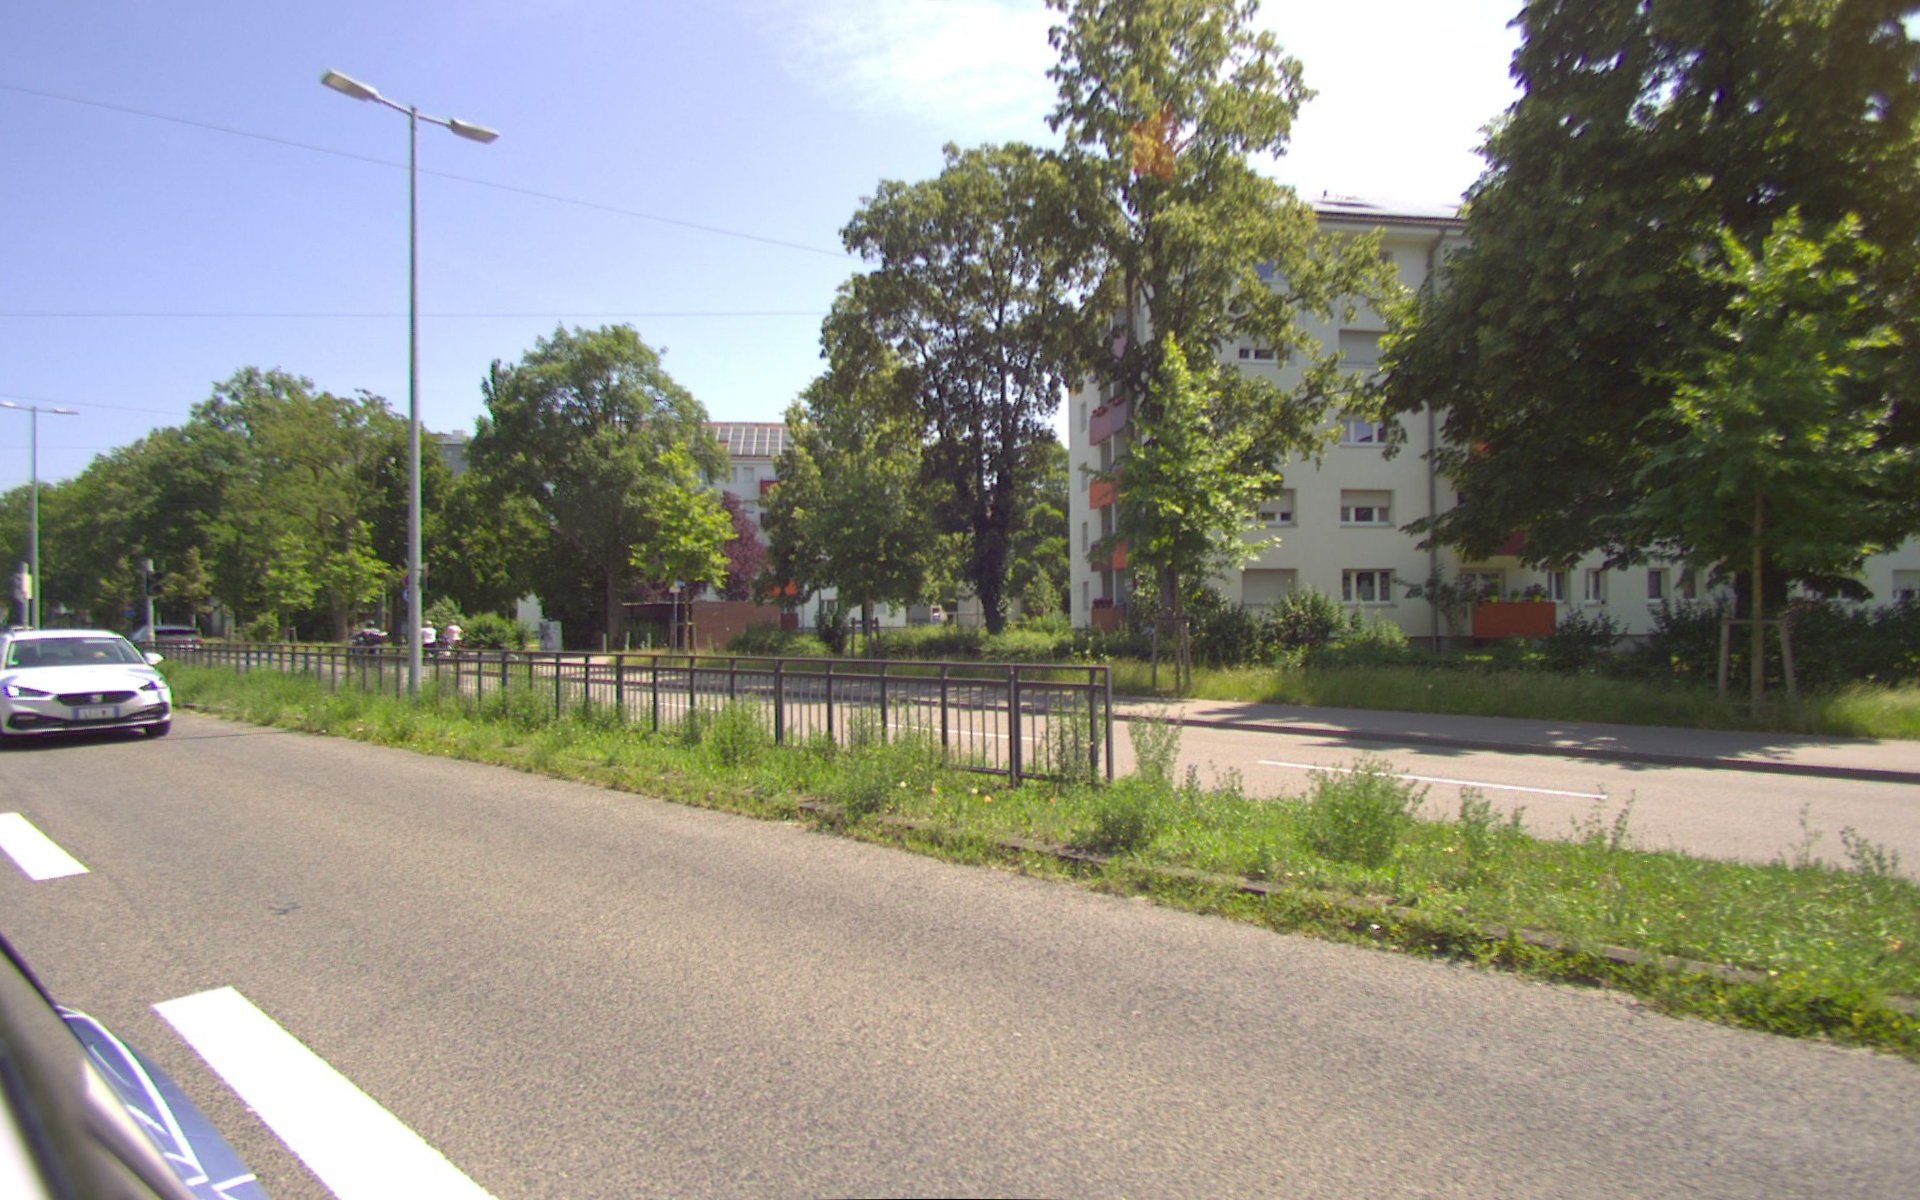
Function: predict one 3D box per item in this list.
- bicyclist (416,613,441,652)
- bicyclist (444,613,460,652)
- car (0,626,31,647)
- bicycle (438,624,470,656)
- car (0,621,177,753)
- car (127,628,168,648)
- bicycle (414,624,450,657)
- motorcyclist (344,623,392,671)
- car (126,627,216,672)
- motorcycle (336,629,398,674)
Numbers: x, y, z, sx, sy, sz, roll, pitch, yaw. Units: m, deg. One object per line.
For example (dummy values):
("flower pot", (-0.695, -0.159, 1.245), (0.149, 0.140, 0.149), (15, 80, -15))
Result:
("bicyclist", (-18.767, 1.134, 35.737), (0.755, 1.356, 0.539), (-2, -2, 40))
("bicyclist", (-18.170, 1.162, 36.222), (0.440, 1.402, 0.353), (-2, 0, 44))
("car", (-73.235, 2.809, 78.139), (4.346, 1.584, 1.801), (-2, -2, 42))
("bicycle", (-18.049, 1.421, 36.114), (1.379, 1.102, 0.548), (0, 1, 43))
("car", (-12.298, 1.068, 13.808), (4.109, 1.479, 1.750), (-1, 0, 41))
("car", (-67.661, 3.159, 84.284), (3.998, 1.597, 1.973), (-2, -2, 41))
("bicycle", (-18.527, 1.405, 35.504), (1.615, 1.141, 0.582), (-2, -2, 42))
("motorcyclist", (-18.145, 1.420, 31.011), (1.509, 1.414, 0.729), (-1, -2, 36))
("car", (-29.230, 1.792, 37.452), (4.156, 1.555, 1.739), (-2, -2, 39))
("motorcycle", (-18.143, 1.547, 30.952), (2.391, 1.309, 0.798), (-1, -2, 38))
